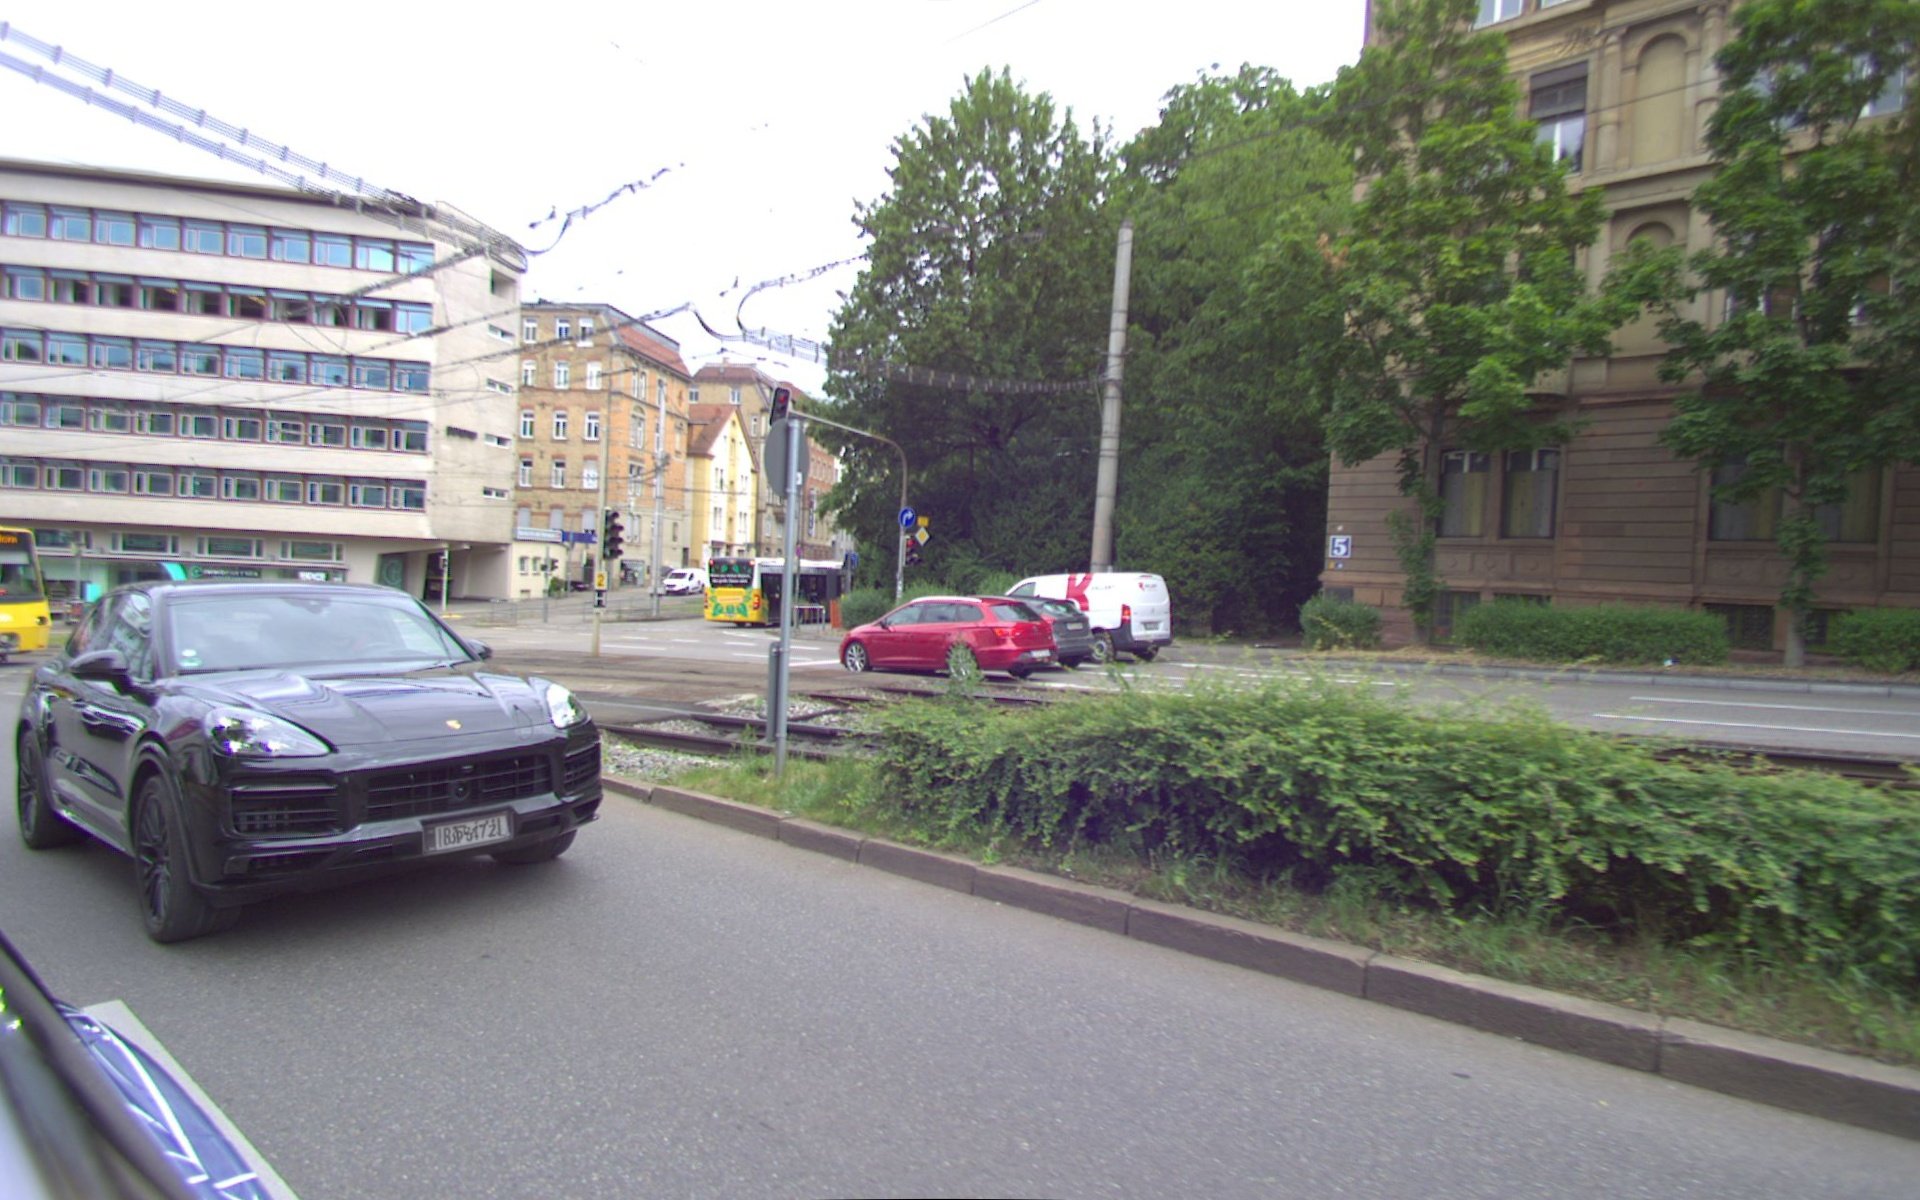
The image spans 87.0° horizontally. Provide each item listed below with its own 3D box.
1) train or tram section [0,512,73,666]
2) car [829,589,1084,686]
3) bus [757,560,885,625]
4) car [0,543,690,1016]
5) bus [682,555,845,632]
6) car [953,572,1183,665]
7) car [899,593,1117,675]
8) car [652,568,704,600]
[{"bbox_3d":[-29.997,-0.229,26.149,14.333,3.691,2.879,0,2,14],"label":"train or tram section"},{"bbox_3d":[-0.158,0.569,18.145,4.405,1.530,1.972,1,1,42],"label":"car"},{"bbox_3d":[-7.155,-0.440,54.500,3.289,3.066,11.321,-1,1,12],"label":"bus"},{"bbox_3d":[-3.879,0.601,5.906,4.775,1.697,2.008,1,1,38],"label":"car"},{"bbox_3d":[-8.652,-0.341,46.778,3.353,3.052,11.510,-1,1,11],"label":"bus"},{"bbox_3d":[2.323,0.358,22.772,4.994,1.863,1.971,0,1,44],"label":"car"},{"bbox_3d":[0.892,0.603,20.723,4.406,1.437,1.723,1,1,43],"label":"car"},{"bbox_3d":[-20.622,-1.115,74.193,1.979,2.029,3.985,-5,-3,11],"label":"car"}]
